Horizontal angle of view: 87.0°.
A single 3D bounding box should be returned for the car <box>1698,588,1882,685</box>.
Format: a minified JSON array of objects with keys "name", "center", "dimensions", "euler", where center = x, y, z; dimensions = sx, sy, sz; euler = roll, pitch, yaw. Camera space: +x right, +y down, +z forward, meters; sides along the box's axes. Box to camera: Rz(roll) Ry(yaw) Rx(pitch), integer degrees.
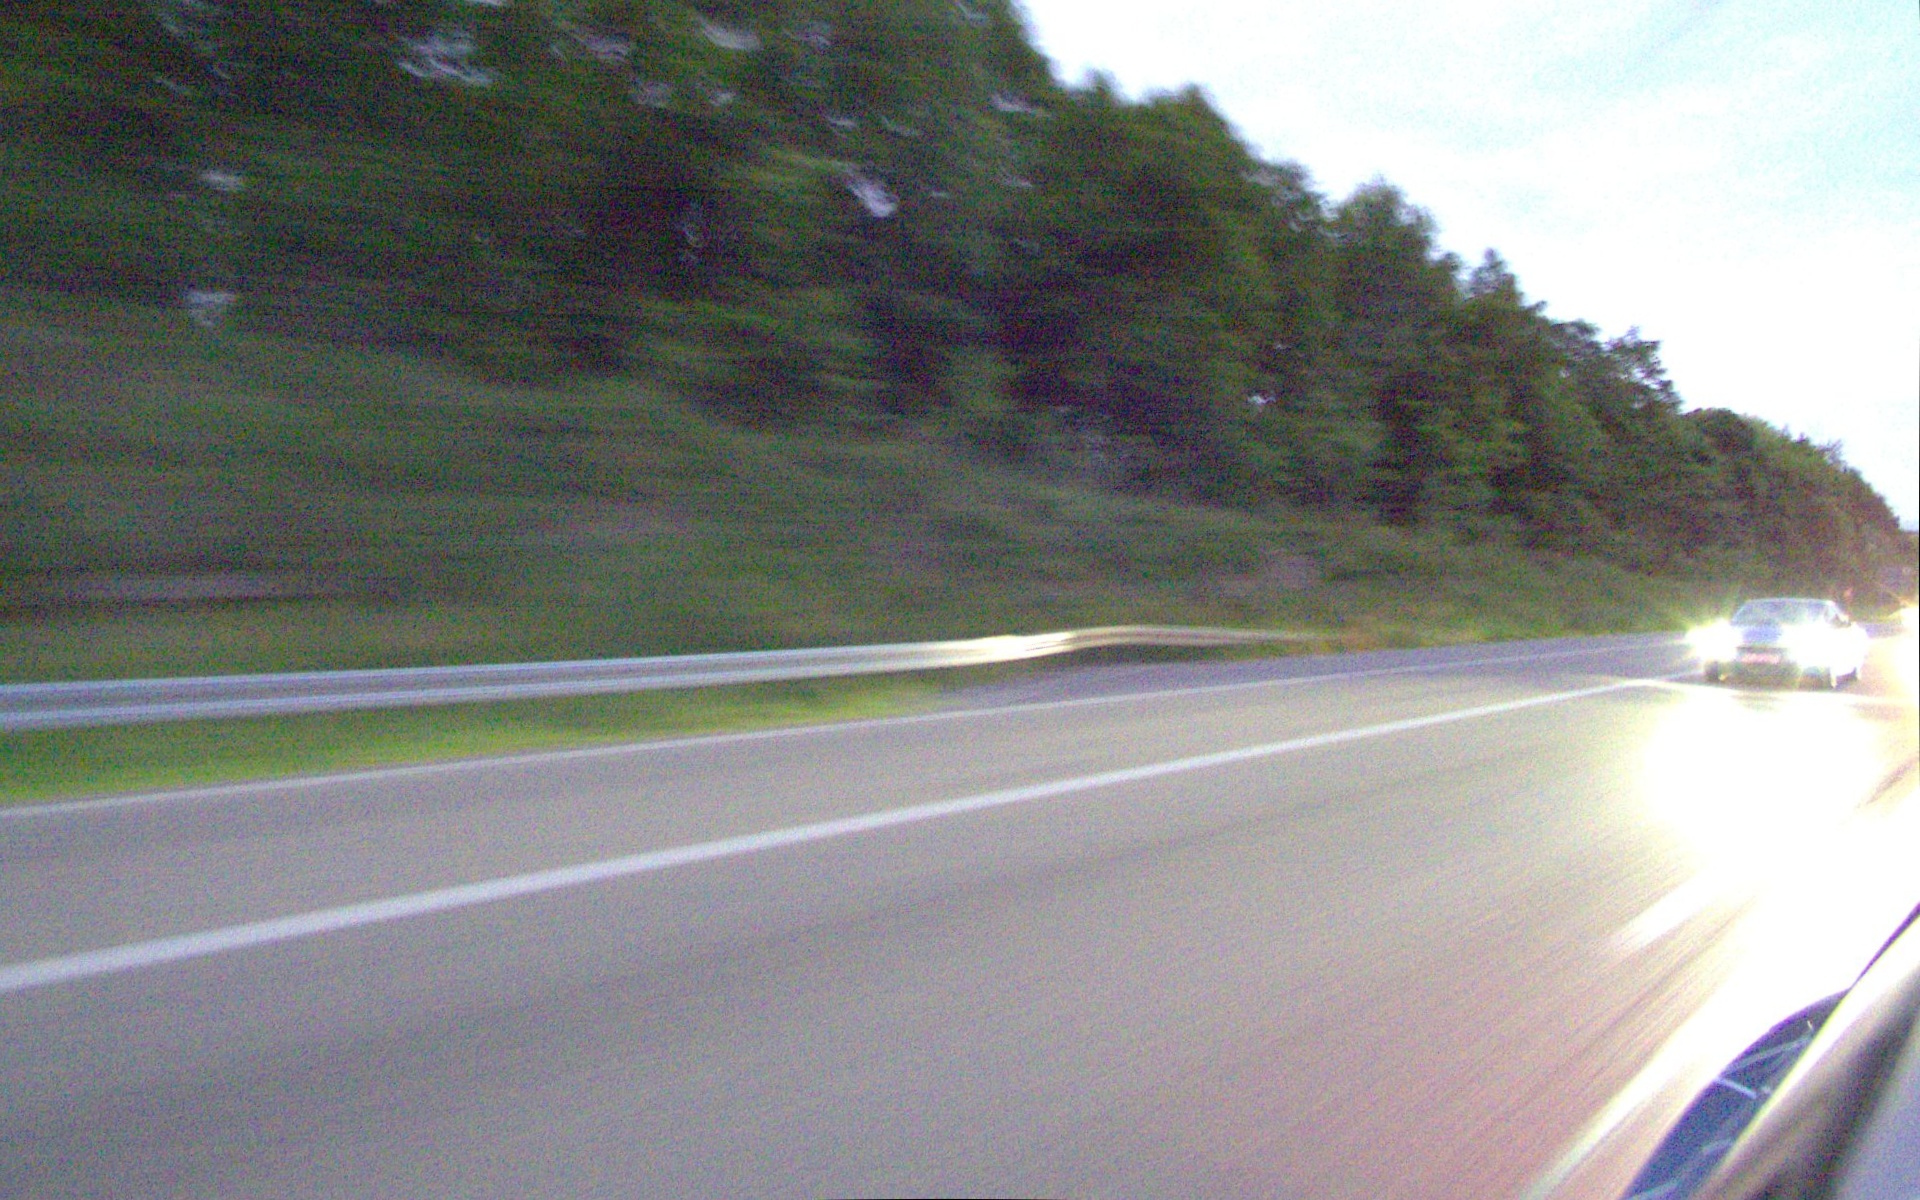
[{"name":"car","center":[14.711,0.540,17.845],"dimensions":[4.506,1.454,1.868],"euler":[-1,1,-42]}]
